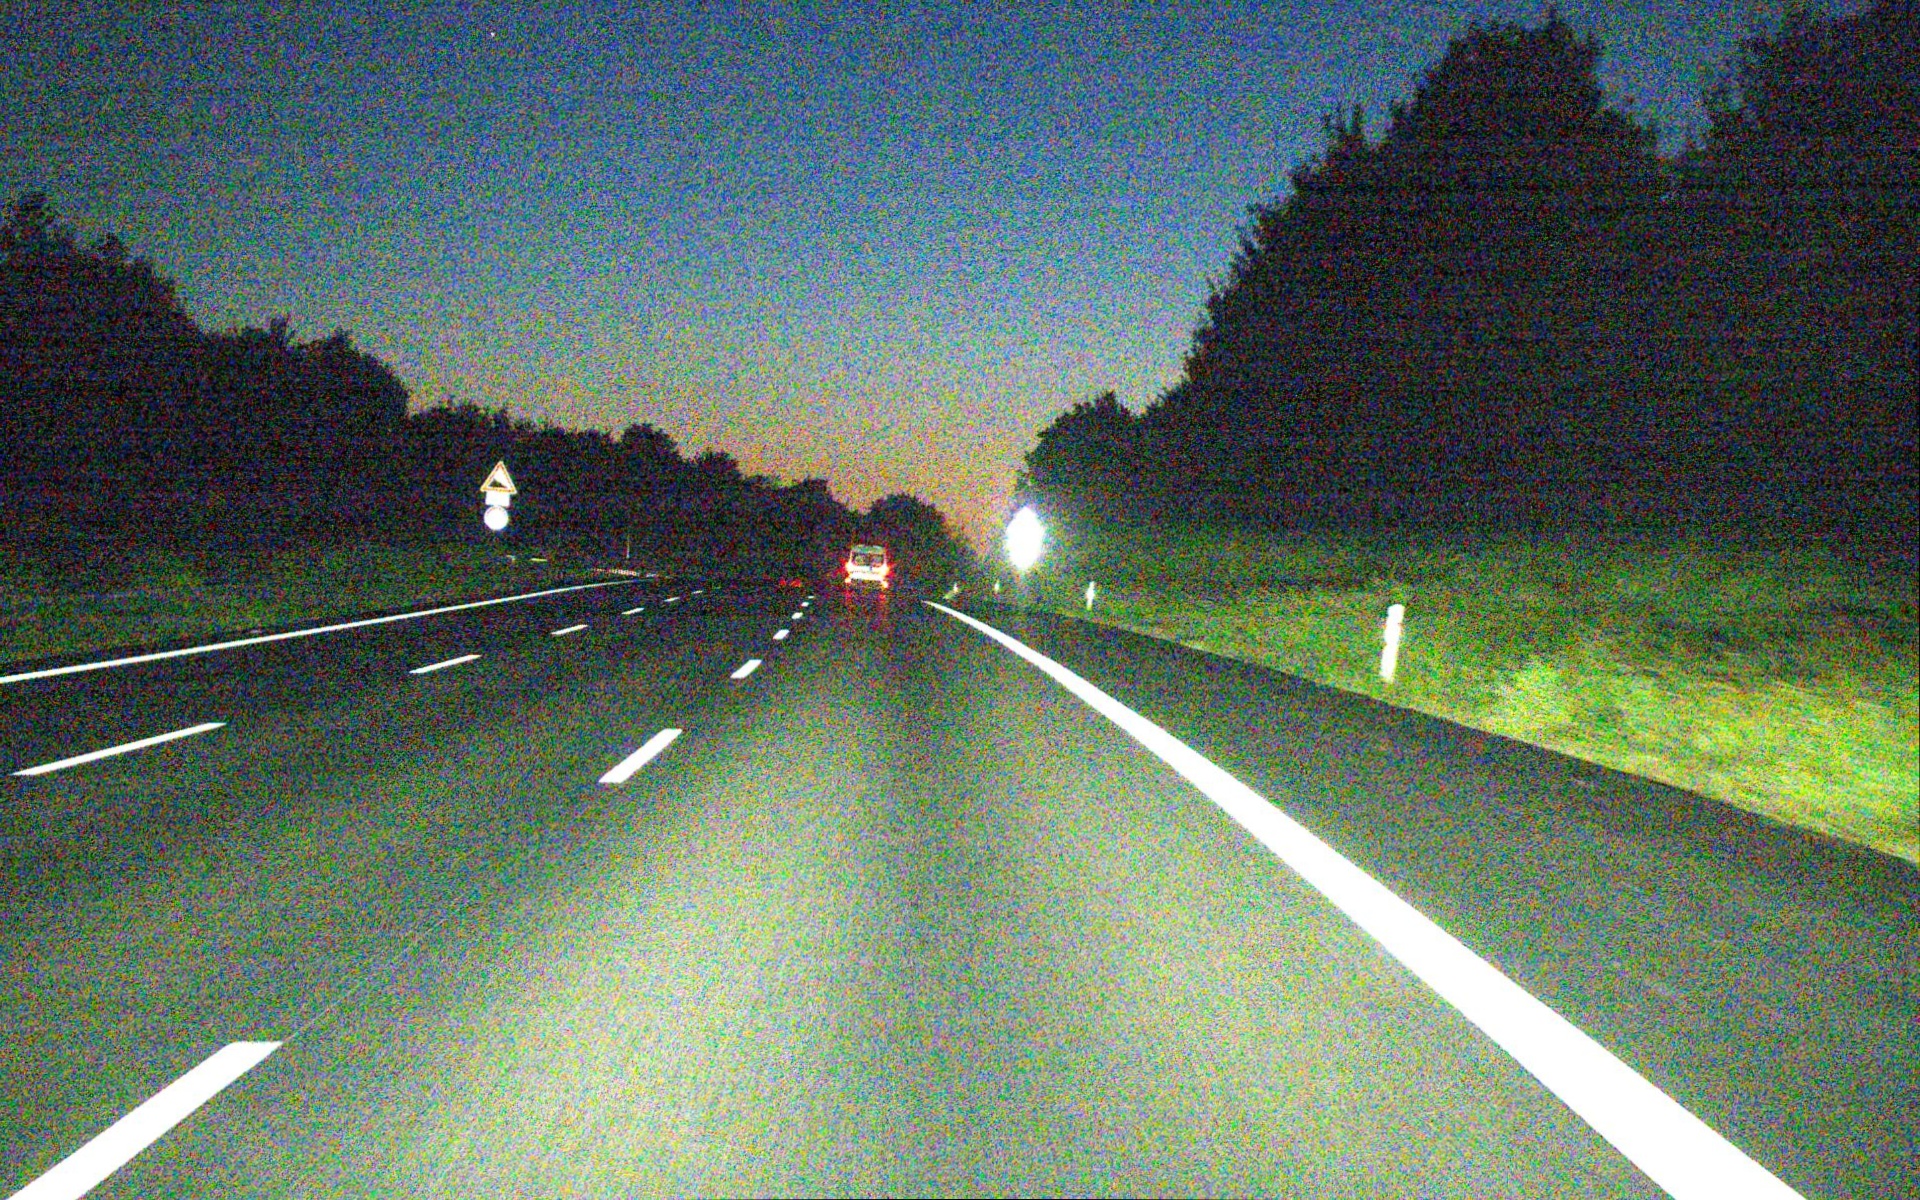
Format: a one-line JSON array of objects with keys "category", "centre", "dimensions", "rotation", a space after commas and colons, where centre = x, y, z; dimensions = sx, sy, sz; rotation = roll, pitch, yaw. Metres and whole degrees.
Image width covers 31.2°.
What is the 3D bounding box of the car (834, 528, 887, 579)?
[{"category": "car", "centre": [-5.236, -2.480, 182.309], "dimensions": [2.527, 2.544, 6.051], "rotation": [2, 1, 0]}]
